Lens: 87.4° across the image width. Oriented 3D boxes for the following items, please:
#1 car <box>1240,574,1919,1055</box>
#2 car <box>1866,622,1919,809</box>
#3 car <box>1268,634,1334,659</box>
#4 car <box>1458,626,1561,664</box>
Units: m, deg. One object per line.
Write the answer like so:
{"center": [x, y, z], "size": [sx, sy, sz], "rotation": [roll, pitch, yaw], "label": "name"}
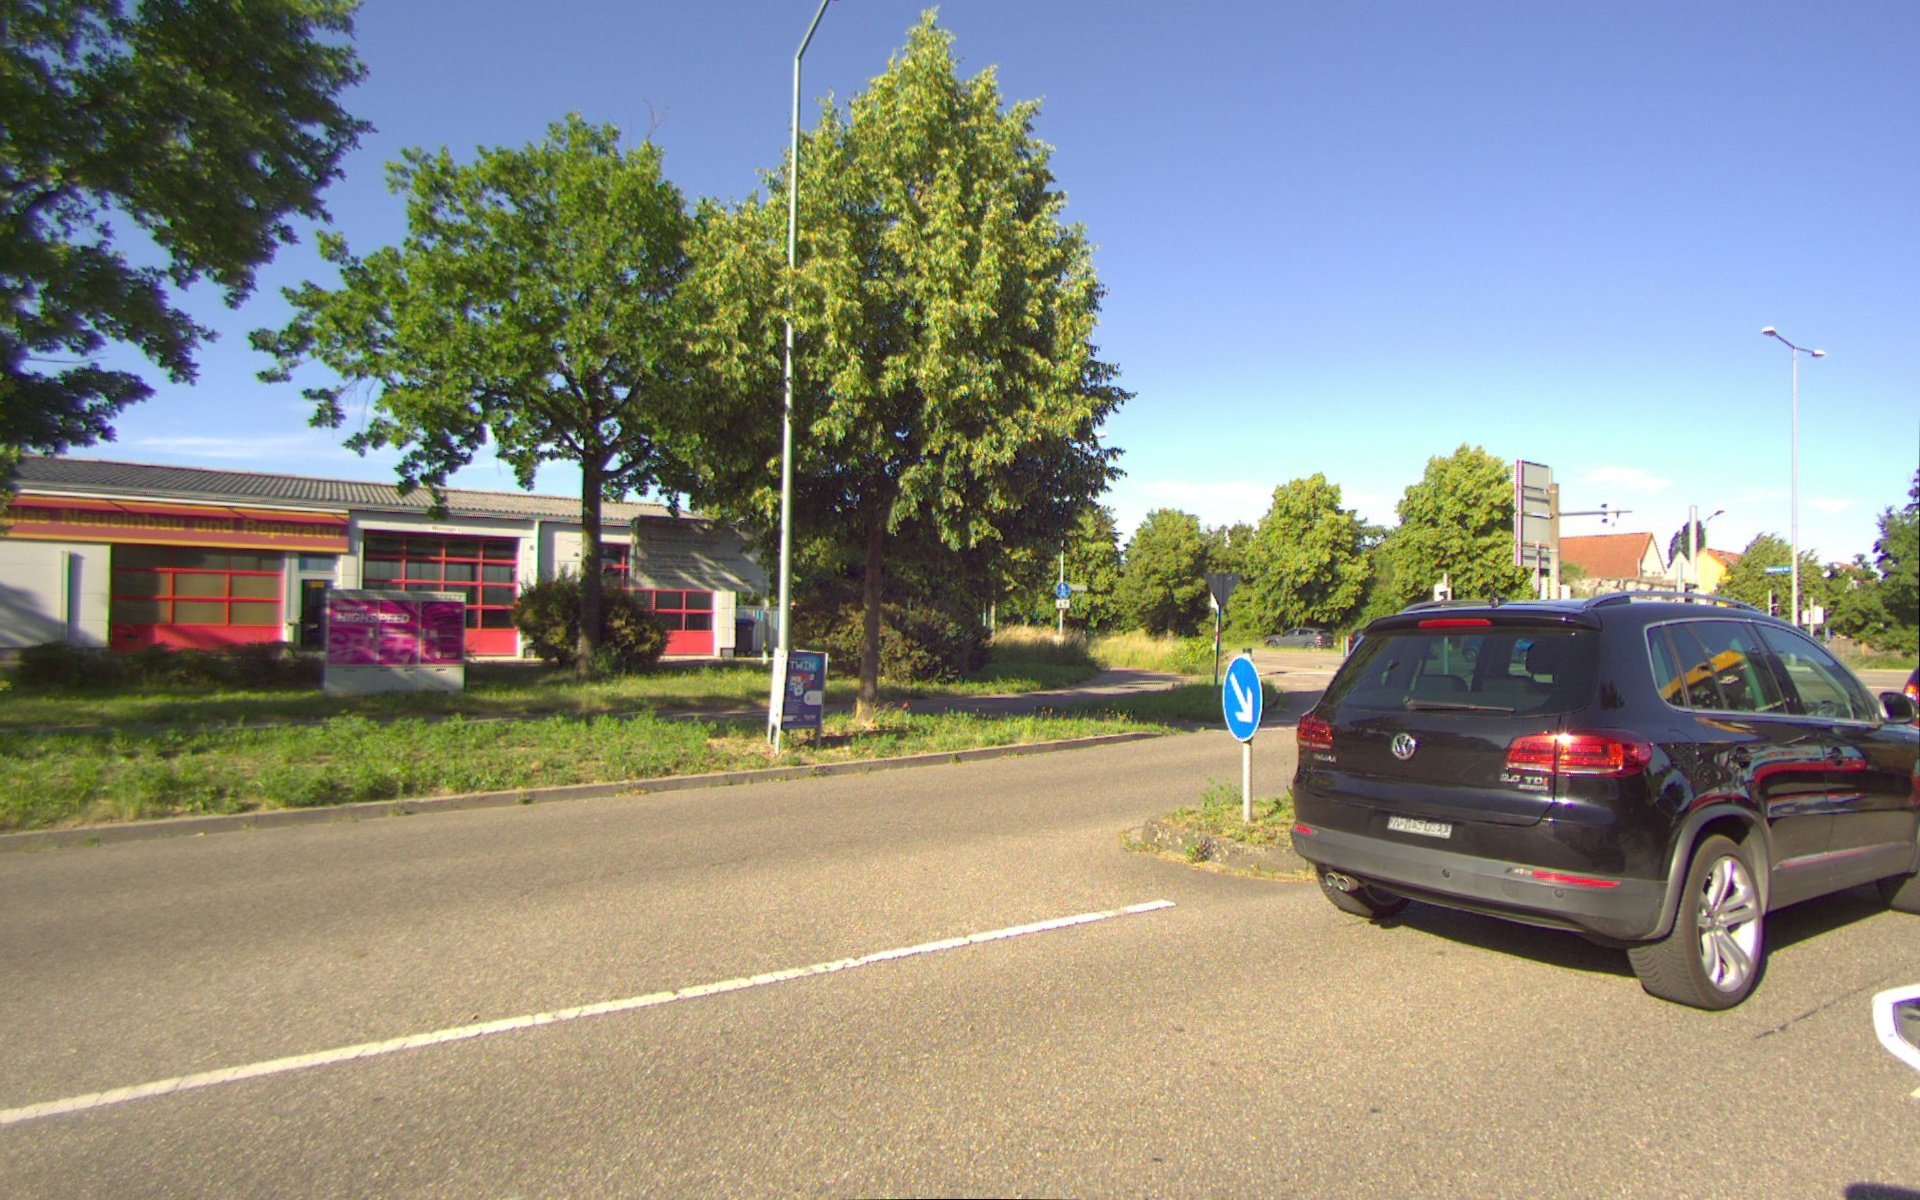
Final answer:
{"center": [3.553, 0.827, 5.315], "size": [3.954, 1.675, 1.763], "rotation": [1, -3, -31], "label": "car"}
{"center": [10.231, 1.011, 9.215], "size": [3.954, 1.610, 1.753], "rotation": [1, -3, -31], "label": "car"}
{"center": [21.230, 2.869, 62.590], "size": [1.567, 1.478, 3.547], "rotation": [2, -2, -45], "label": "car"}
{"center": [23.758, 1.911, 43.497], "size": [1.733, 1.581, 3.559], "rotation": [2, -2, -35], "label": "car"}
